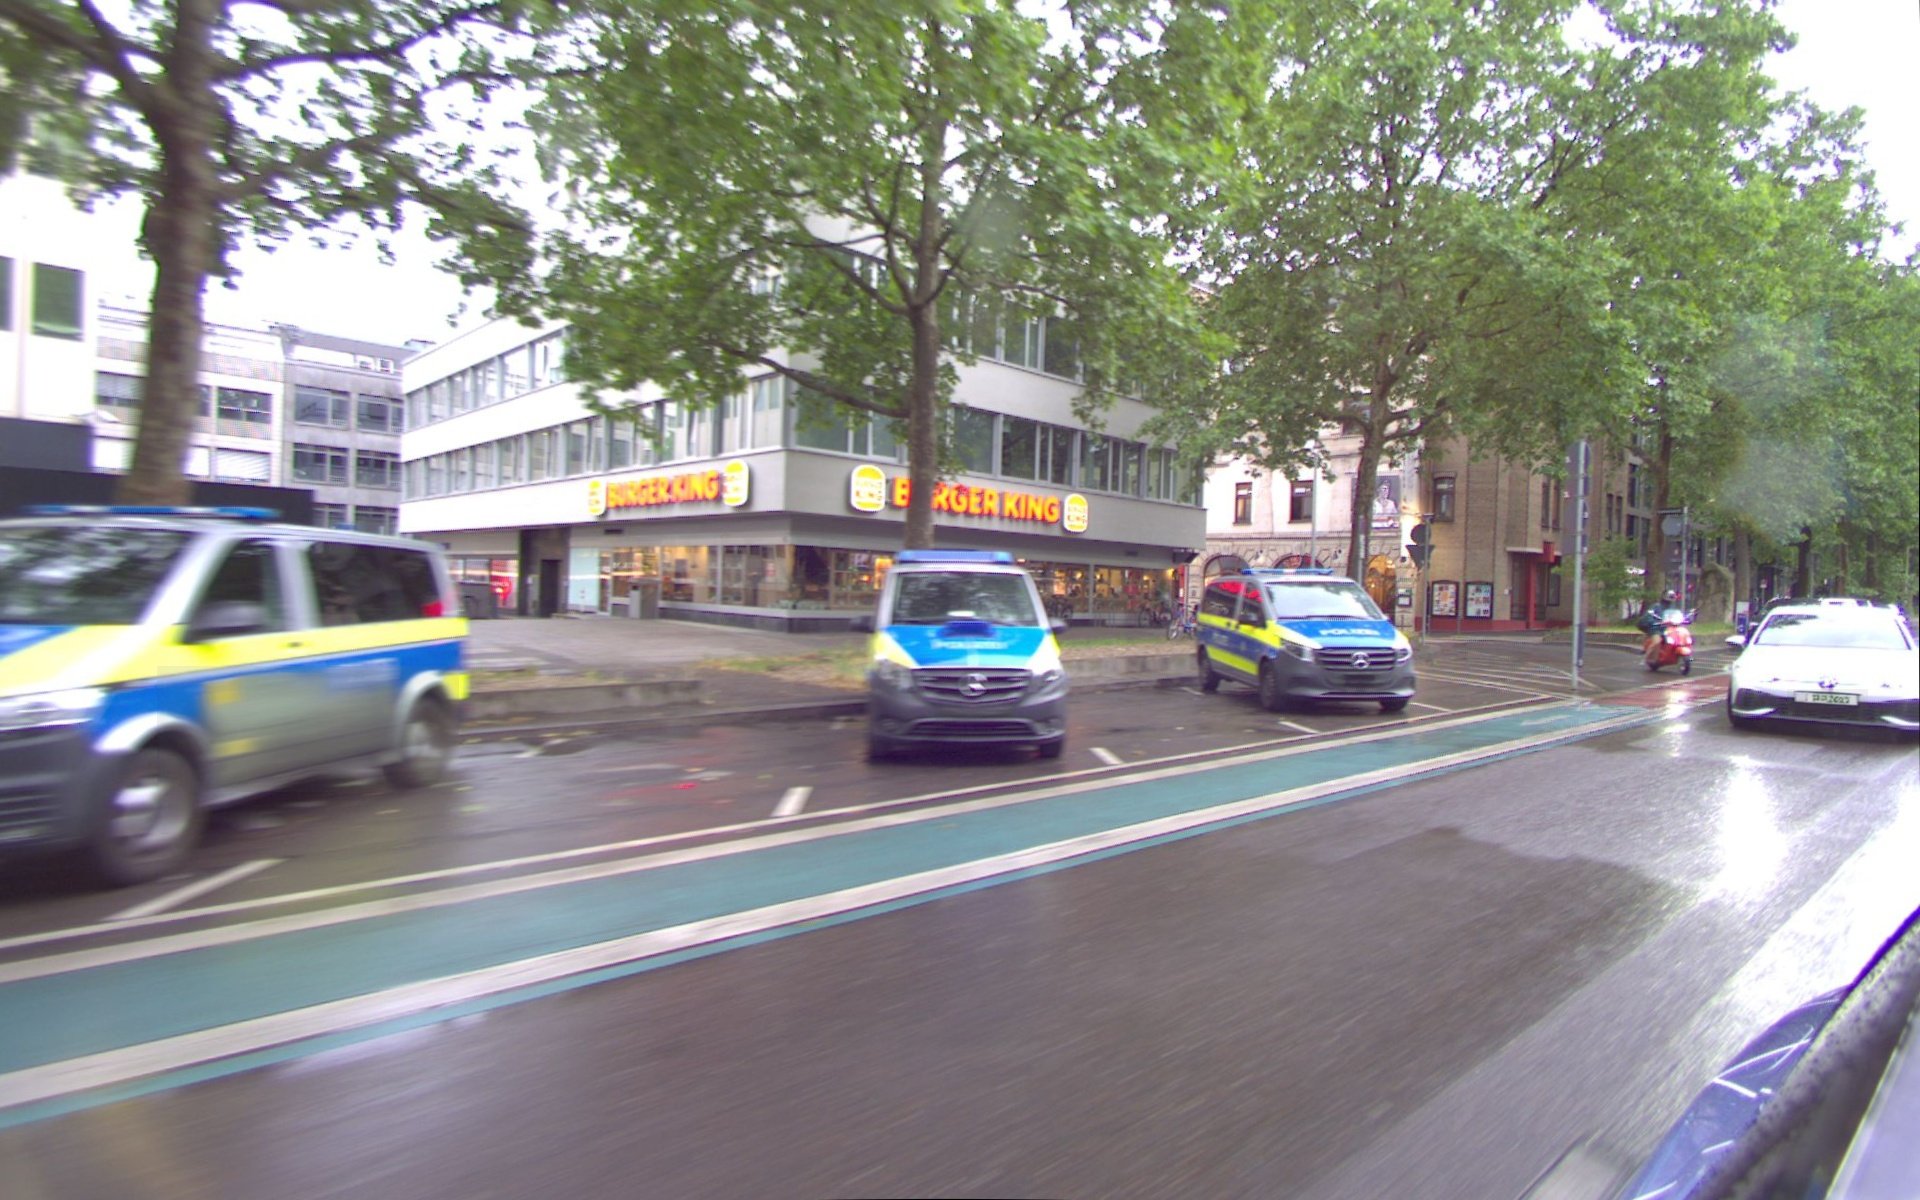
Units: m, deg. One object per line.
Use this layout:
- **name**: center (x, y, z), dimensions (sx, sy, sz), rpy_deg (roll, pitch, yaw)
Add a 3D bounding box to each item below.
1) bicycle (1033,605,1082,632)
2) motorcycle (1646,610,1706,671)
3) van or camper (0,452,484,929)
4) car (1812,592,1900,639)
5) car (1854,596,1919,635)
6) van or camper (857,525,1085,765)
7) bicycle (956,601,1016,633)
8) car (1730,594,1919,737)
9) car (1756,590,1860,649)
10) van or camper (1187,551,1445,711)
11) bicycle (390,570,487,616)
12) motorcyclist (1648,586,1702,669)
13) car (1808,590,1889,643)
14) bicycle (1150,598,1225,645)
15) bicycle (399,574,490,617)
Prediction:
- **bicycle**: center (3.211, 0.578, 33.112), dimensions (0.640, 0.829, 1.885), rpy_deg (1, 1, 41)
- **motorcycle**: center (14.792, 0.809, 20.955), dimensions (0.862, 1.157, 1.999), rpy_deg (1, 0, 31)
- **van or camper**: center (-5.047, 0.343, 6.662), dimensions (1.831, 2.023, 4.859), rpy_deg (0, 1, -4)
- **car**: center (32.581, 0.522, 36.758), dimensions (4.483, 1.609, 1.996), rpy_deg (0, 0, -43)
- **car**: center (36.842, 0.574, 39.925), dimensions (4.505, 1.451, 1.746), rpy_deg (0, 0, -40)
- **van or camper**: center (-0.082, 0.382, 11.206), dimensions (1.957, 2.045, 5.092), rpy_deg (0, 0, -4)
- **bicycle**: center (0.794, 0.501, 30.159), dimensions (0.583, 0.907, 2.044), rpy_deg (1, 1, 43)
- **car**: center (10.964, 0.661, 12.486), dimensions (1.861, 1.463, 4.438), rpy_deg (1, 1, 44)
- **car**: center (25.079, 0.523, 29.883), dimensions (4.348, 1.623, 1.795), rpy_deg (0, 0, -42)
- **van or camper**: center (5.086, 0.373, 15.335), dimensions (1.963, 2.017, 4.950), rpy_deg (0, 0, -3)
- **bicycle**: center (-14.160, -0.186, 27.514), dimensions (2.247, 1.187, 0.687), rpy_deg (0, 1, -41)
- **motorcyclist**: center (14.788, 0.545, 20.944), dimensions (0.842, 1.665, 0.862), rpy_deg (0, 0, 32)
- **car**: center (29.144, 0.504, 33.159), dimensions (1.752, 1.605, 4.339), rpy_deg (0, 0, 45)
- **bicycle**: center (6.455, 0.625, 28.755), dimensions (1.875, 0.926, 0.650), rpy_deg (7, 26, -30)
- **bicycle**: center (-14.782, -0.140, 29.065), dimensions (2.249, 1.188, 0.687), rpy_deg (0, 0, -44)
